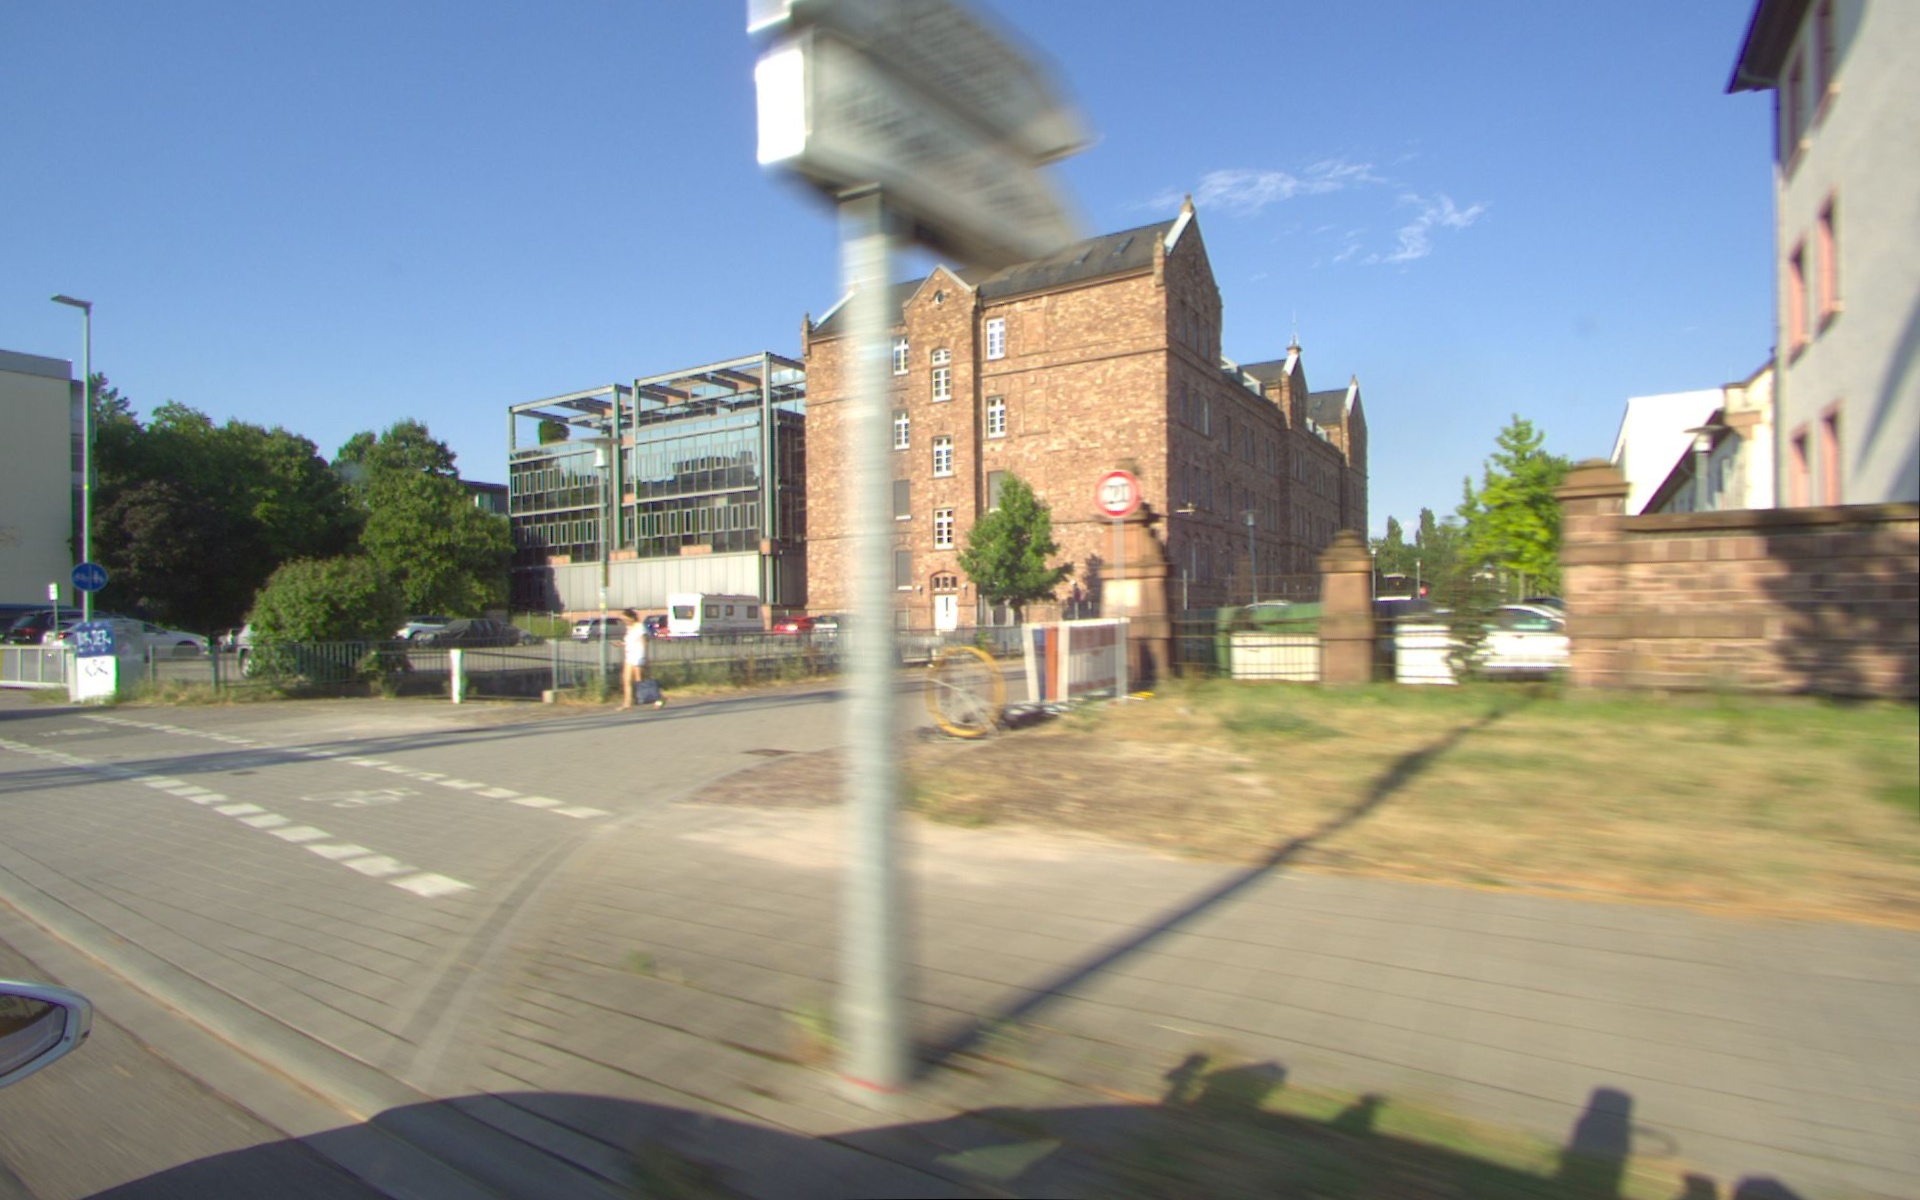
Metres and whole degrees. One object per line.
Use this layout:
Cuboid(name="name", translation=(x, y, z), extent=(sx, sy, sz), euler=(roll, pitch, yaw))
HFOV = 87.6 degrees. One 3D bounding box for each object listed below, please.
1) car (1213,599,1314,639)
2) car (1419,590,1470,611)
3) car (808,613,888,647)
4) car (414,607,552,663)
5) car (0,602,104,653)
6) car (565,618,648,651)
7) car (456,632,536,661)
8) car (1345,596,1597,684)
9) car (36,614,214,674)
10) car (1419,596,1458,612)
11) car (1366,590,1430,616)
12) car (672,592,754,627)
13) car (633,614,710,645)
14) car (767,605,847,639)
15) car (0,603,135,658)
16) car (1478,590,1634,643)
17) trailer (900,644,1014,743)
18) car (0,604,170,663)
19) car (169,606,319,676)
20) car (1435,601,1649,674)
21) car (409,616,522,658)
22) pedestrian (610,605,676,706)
Cuboid(name="car", translation=(13.749, 0.895, 45.390), extent=(3.945, 1.637, 1.990), euler=(-3, -4, 33))
Cuboid(name="car", translation=(43.692, 0.039, 90.332), extent=(3.945, 1.637, 1.990), euler=(-3, -4, 33))
Cuboid(name="car", translation=(-5.354, 1.478, 48.285), extent=(1.804, 1.521, 4.069), euler=(-3, -4, 30))
Cuboid(name="car", translation=(-16.590, 1.280, 35.028), extent=(1.969, 1.815, 3.987), euler=(-2, -4, 27))
Cuboid(name="car", translation=(-35.620, 1.097, 38.232), extent=(1.969, 1.815, 3.987), euler=(-2, -4, 27))
Cuboid(name="car", translation=(-20.022, 2.016, 56.930), extent=(1.969, 1.746, 4.274), euler=(-2, -4, 27))
Cuboid(name="car", translation=(-29.027, 2.960, 62.742), extent=(1.969, 1.746, 4.274), euler=(-2, -4, 27))
Cuboid(name="car", translation=(9.382, 0.798, 18.573), extent=(3.941, 1.471, 1.790), euler=(-3, -4, 29))
Cuboid(name="car", translation=(-27.136, 1.480, 32.680), extent=(1.969, 1.815, 3.987), euler=(-2, -4, 27))
Cuboid(name="car", translation=(56.932, 0.527, 119.093), extent=(3.945, 1.637, 1.990), euler=(-3, -4, 33))
Cuboid(name="car", translation=(31.853, 0.240, 72.820), extent=(3.945, 1.637, 1.990), euler=(-3, -4, 33))
Cuboid(name="car", translation=(-12.455, 0.512, 50.689), extent=(1.803, 1.521, 4.072), euler=(-2, -4, 27))
Cuboid(name="car", translation=(-15.806, 1.660, 55.066), extent=(1.803, 1.521, 4.072), euler=(-2, -4, 27))
Cuboid(name="car", translation=(-7.538, 1.124, 49.628), extent=(1.804, 1.521, 4.069), euler=(-3, -4, 30))
Cuboid(name="car", translation=(-31.905, 1.127, 35.229), extent=(1.970, 1.815, 3.986), euler=(-2, -4, 29))
Cuboid(name="car", translation=(22.324, 0.684, 37.664), extent=(4.902, 1.734, 1.991), euler=(-3, -4, 32))
Cuboid(name="trailer", translation=(-0.043, 1.057, 11.485), extent=(1.250, 1.080, 0.481), euler=(-3, -3, 33))
Cuboid(name="car", translation=(-29.446, 1.186, 33.723), extent=(1.969, 1.815, 3.987), euler=(-2, -4, 27))
Cuboid(name="car", translation=(-18.704, 1.117, 26.140), extent=(3.941, 1.682, 1.652), euler=(-3, -4, 29))
Cuboid(name="car", translation=(12.863, 0.888, 22.362), extent=(3.941, 1.471, 1.993), euler=(-3, -4, 29))
Cuboid(name="car", translation=(-22.242, 1.721, 45.210), extent=(1.969, 1.746, 4.274), euler=(-2, -4, 27))
Cuboid(name="pedestrian", translation=(-5.288, 0.931, 16.714), extent=(0.777, 1.631, 0.714), euler=(-2, -3, 26))
